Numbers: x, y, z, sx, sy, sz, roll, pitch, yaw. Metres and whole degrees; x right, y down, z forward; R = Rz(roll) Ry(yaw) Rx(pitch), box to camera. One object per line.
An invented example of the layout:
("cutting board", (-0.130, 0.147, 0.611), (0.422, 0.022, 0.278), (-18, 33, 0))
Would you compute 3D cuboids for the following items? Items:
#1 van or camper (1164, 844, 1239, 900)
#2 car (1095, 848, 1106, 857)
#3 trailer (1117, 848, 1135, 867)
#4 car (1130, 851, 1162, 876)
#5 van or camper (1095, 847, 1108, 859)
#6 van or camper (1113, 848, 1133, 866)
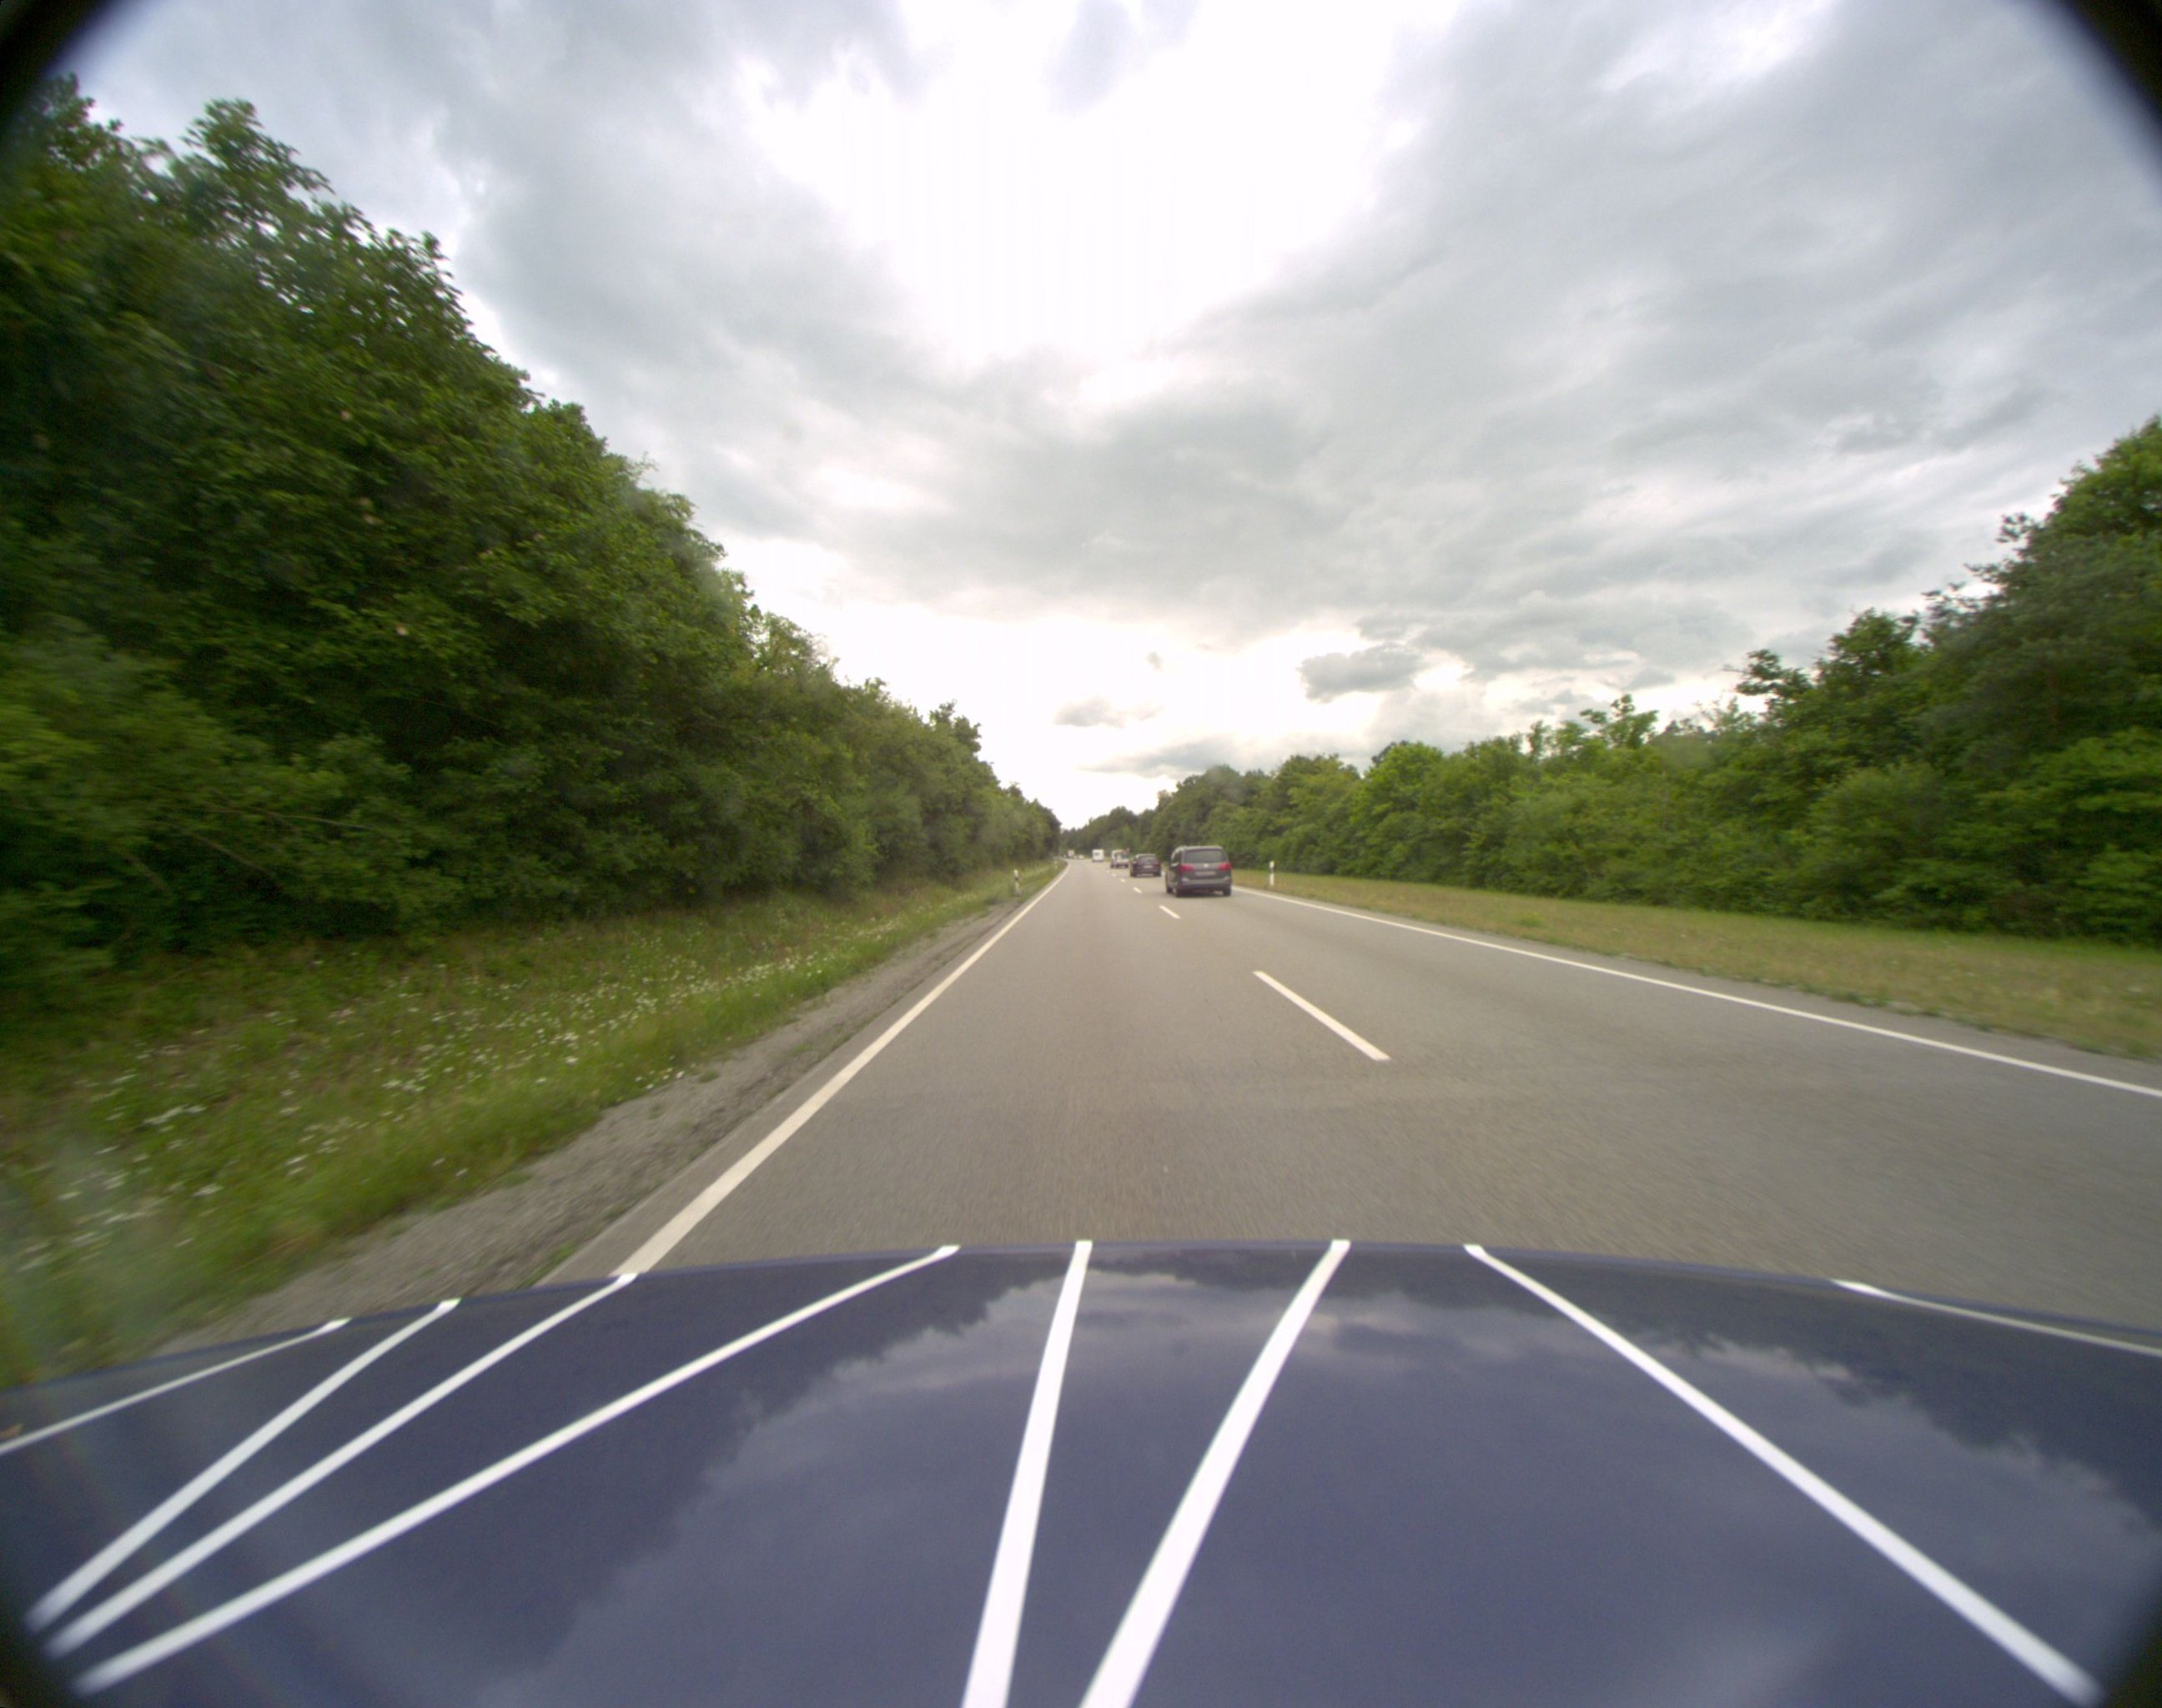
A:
("van or camper", (4.147, 0.571, 26.797), (1.998, 1.772, 4.422), (-2, 0, 1))
("car", (4.298, -0.374, 167.981), (2.285, 1.594, 4.691), (-7, 0, 0))
("trailer", (4.721, 0.314, 80.270), (1.626, 1.881, 3.783), (-2, 0, 0))
("car", (4.192, 0.600, 49.709), (1.692, 1.471, 4.455), (-2, 0, 0))
("van or camper", (4.408, -0.253, 162.446), (2.386, 2.560, 6.278), (-2, 0, 0))
("van or camper", (4.622, 0.258, 84.987), (1.926, 1.881, 5.361), (-2, 0, 0))
